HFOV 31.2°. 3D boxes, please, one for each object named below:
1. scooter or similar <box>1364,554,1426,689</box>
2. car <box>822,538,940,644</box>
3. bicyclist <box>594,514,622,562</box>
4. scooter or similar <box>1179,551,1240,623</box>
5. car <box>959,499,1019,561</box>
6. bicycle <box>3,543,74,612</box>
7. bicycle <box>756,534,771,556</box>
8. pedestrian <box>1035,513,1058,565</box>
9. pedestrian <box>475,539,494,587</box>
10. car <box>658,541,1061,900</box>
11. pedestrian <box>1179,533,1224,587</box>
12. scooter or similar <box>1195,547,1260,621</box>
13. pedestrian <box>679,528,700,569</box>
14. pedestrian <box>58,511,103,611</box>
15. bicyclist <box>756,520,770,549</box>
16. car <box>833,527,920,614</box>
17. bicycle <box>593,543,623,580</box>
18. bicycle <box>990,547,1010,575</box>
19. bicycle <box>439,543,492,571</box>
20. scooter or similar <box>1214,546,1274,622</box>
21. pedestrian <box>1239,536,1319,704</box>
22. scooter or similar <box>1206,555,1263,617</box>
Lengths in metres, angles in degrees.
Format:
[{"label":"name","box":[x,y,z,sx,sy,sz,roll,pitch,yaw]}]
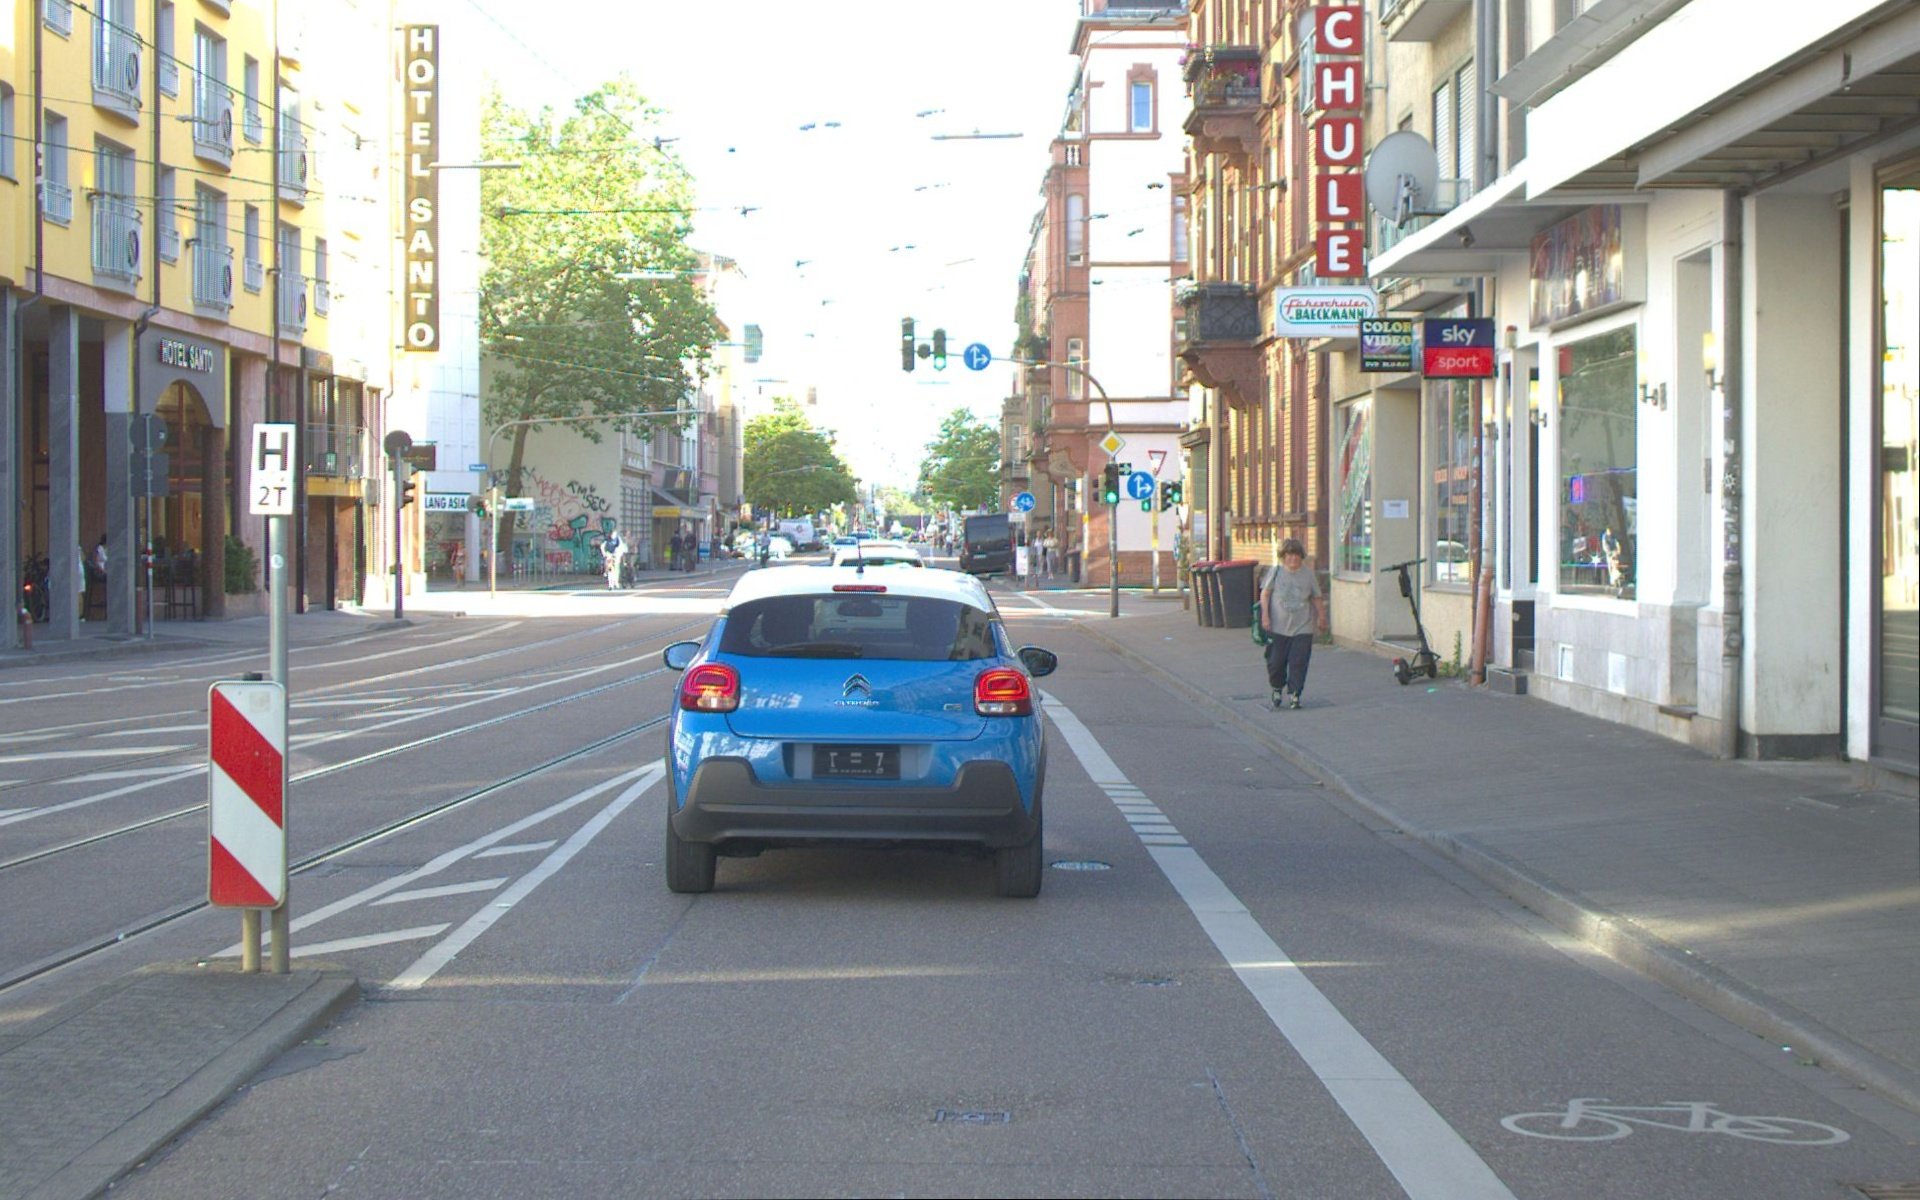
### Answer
[{"label":"scooter or similar","box":[4.256,0.197,33.590,0.410,1.277,1.283,0,1,16]},{"label":"car","box":[-1.181,-0.163,50.659,1.667,1.473,4.001,0,1,-2]},{"label":"bicyclist","box":[-10.407,-1.836,101.691,0.724,1.376,1.228,1,2,-2]},{"label":"scooter or similar","box":[4.203,-0.221,57.962,0.897,1.144,0.547,-4,1,-2]},{"label":"car","box":[1.132,-2.797,138.043,2.271,2.428,5.720,0,1,-1]},{"label":"bicycle","box":[-16.314,-0.411,60.897,0.581,1.198,2.080,0,1,4]},{"label":"bicycle","box":[-9.866,-2.767,172.630,0.692,1.116,2.084,0,1,-2]},{"label":"pedestrian","box":[2.990,-2.114,119.267,0.705,1.776,0.673,1,0,-2]},{"label":"pedestrian","box":[-15.455,-1.199,111.747,0.542,1.547,0.516,0,1,-2]},{"label":"car","box":[-0.434,0.493,16.824,1.674,1.472,4.000,3,1,0]},{"label":"pedestrian","box":[6.558,-1.101,93.519,0.938,1.452,0.823,0,1,-25]},{"label":"scooter or similar","box":[4.422,-0.270,56.878,0.933,1.144,0.650,-4,1,-2]},{"label":"pedestrian","box":[-11.652,-2.216,148.260,0.682,1.759,1.025,0,1,10]},{"label":"pedestrian","box":[-15.519,-0.689,60.661,0.561,1.764,0.722,0,1,4]},{"label":"bicyclist","box":[-9.888,-3.281,172.512,0.682,1.478,0.778,0,1,-1]},{"label":"car","box":[-1.992,-0.721,81.619,1.993,2.007,4.001,0,1,-2]},{"label":"bicycle","box":[-10.416,-1.135,101.745,0.730,1.084,2.062,0,1,-2]},{"label":"bicycle","box":[1.374,-1.333,117.701,0.431,0.944,1.764,0,1,-8]},{"label":"bicycle","box":[-18.705,-1.634,130.087,1.918,1.031,0.664,1,1,26]},{"label":"scooter or similar","box":[4.562,-0.262,55.278,0.790,1.144,0.790,-4,1,-2]},{"label":"pedestrian","box":[2.973,0.177,32.071,0.648,1.555,0.781,0,1,-2]},{"label":"scooter or similar","box":[4.490,-0.236,56.234,0.790,0.954,0.680,-4,1,-2]}]
